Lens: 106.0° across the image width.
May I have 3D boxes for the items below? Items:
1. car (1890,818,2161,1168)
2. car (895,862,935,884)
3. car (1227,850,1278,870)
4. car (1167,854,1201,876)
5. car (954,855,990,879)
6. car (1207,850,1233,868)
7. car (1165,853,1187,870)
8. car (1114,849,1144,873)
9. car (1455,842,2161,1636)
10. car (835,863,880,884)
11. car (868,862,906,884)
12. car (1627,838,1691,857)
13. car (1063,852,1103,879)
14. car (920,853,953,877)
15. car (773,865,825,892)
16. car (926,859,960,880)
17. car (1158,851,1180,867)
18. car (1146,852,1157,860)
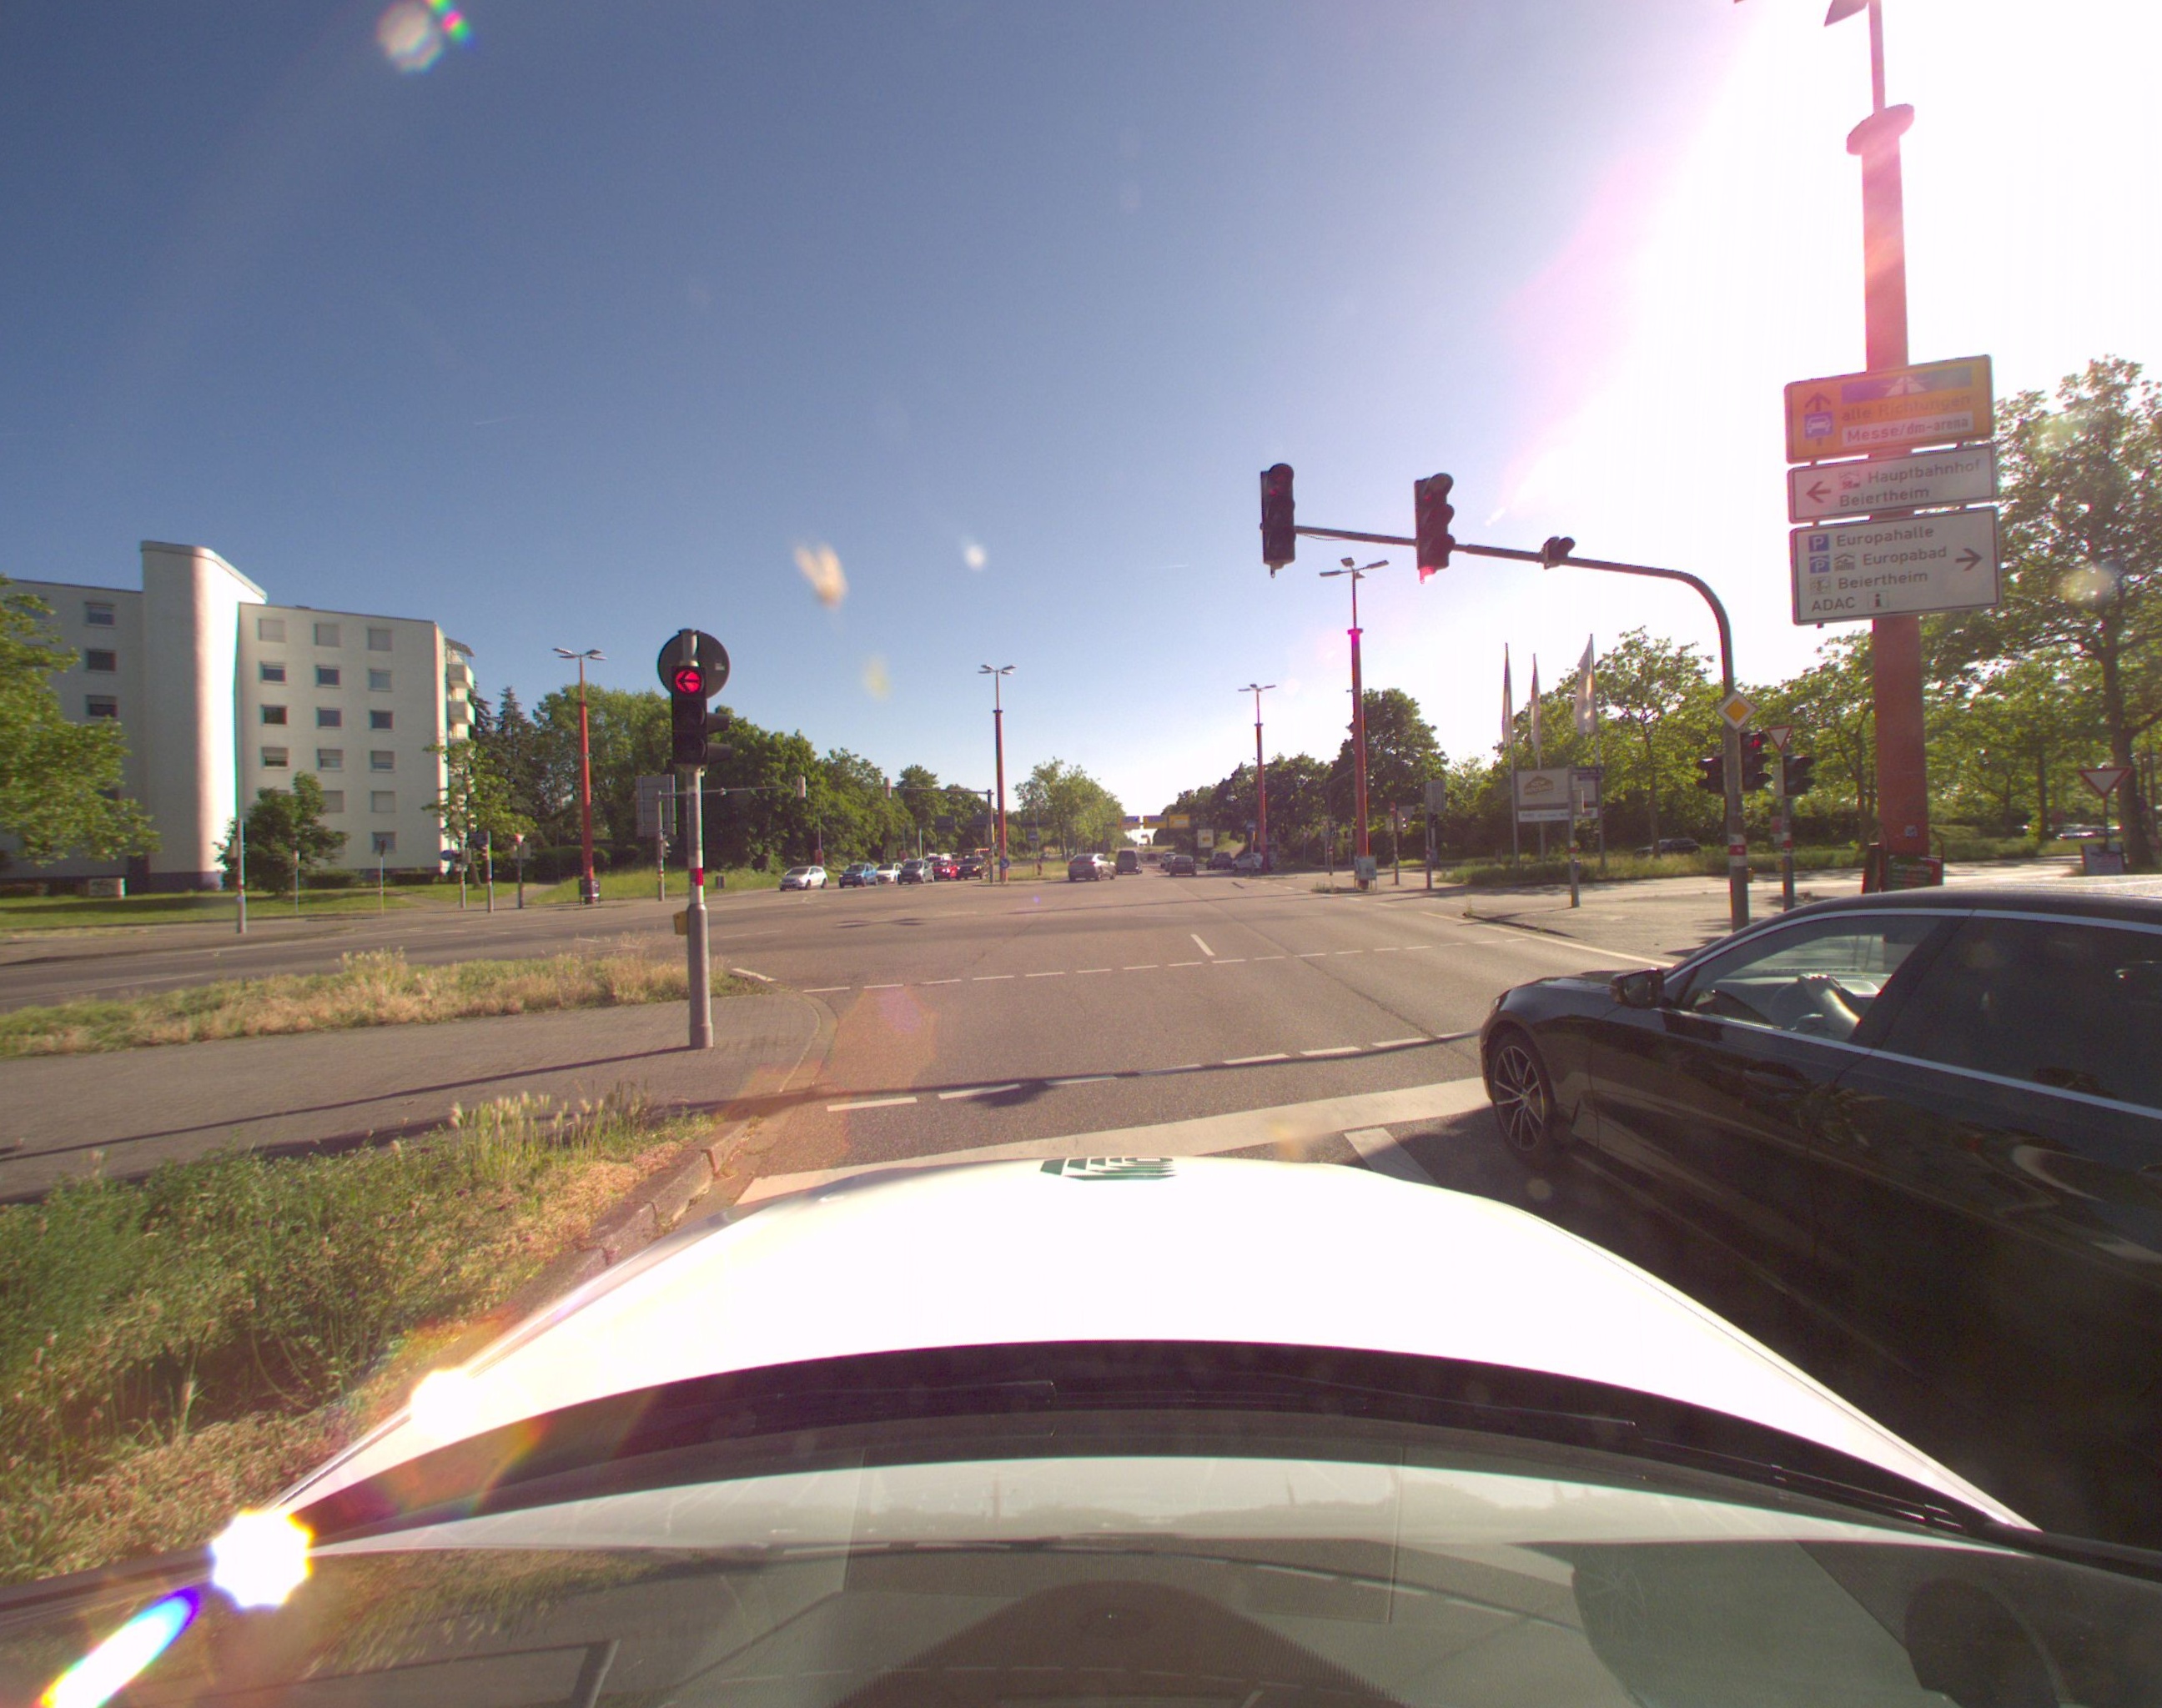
[{"bbox_3d":[5.677,0.600,2.870,1.732,1.578,4.032,-2,0,3],"label":"car"},{"bbox_3d":[-10.597,1.187,52.315,1.733,1.243,3.613,-2,0,1],"label":"car"},{"bbox_3d":[13.613,0.474,64.805,1.691,1.467,3.953,-2,0,-34],"label":"car"},{"bbox_3d":[7.142,0.726,56.202,1.747,1.350,4.379,-2,0,14],"label":"car"},{"bbox_3d":[-7.500,0.868,56.338,1.812,1.508,4.002,-2,0,2],"label":"car"},{"bbox_3d":[12.748,0.439,74.855,1.773,1.485,4.331,-2,0,1],"label":"car"},{"bbox_3d":[8.149,0.632,69.817,1.750,1.350,4.372,-2,0,7],"label":"car"},{"bbox_3d":[3.644,0.527,61.813,1.835,1.708,4.317,-2,0,8],"label":"car"},{"bbox_3d":[2.930,0.686,2.382,1.861,1.398,4.448,-2,0,4],"label":"car"},{"bbox_3d":[-14.081,1.210,51.427,1.733,1.243,3.613,-2,0,1],"label":"car"},{"bbox_3d":[-13.664,1.317,57.537,1.733,1.411,3.613,-2,0,1],"label":"car"},{"bbox_3d":[38.783,-0.430,54.651,3.443,1.207,1.613,-2,0,-13],"label":"car"},{"bbox_3d":[0.164,0.644,47.990,1.821,1.422,4.445,-2,0,6],"label":"car"},{"bbox_3d":[-12.647,0.972,71.697,1.886,2.026,5.223,0,-1,1],"label":"car"},{"bbox_3d":[-17.587,1.501,51.016,1.754,1.532,3.936,-2,0,1],"label":"car"},{"bbox_3d":[-9.899,1.085,58.674,1.733,1.362,3.613,-2,0,1],"label":"car"},{"bbox_3d":[9.198,0.533,85.247,1.816,1.636,4.253,-2,0,1],"label":"car"},{"bbox_3d":[13.076,0.417,150.337,1.675,1.435,4.065,-2,0,0],"label":"car"}]
